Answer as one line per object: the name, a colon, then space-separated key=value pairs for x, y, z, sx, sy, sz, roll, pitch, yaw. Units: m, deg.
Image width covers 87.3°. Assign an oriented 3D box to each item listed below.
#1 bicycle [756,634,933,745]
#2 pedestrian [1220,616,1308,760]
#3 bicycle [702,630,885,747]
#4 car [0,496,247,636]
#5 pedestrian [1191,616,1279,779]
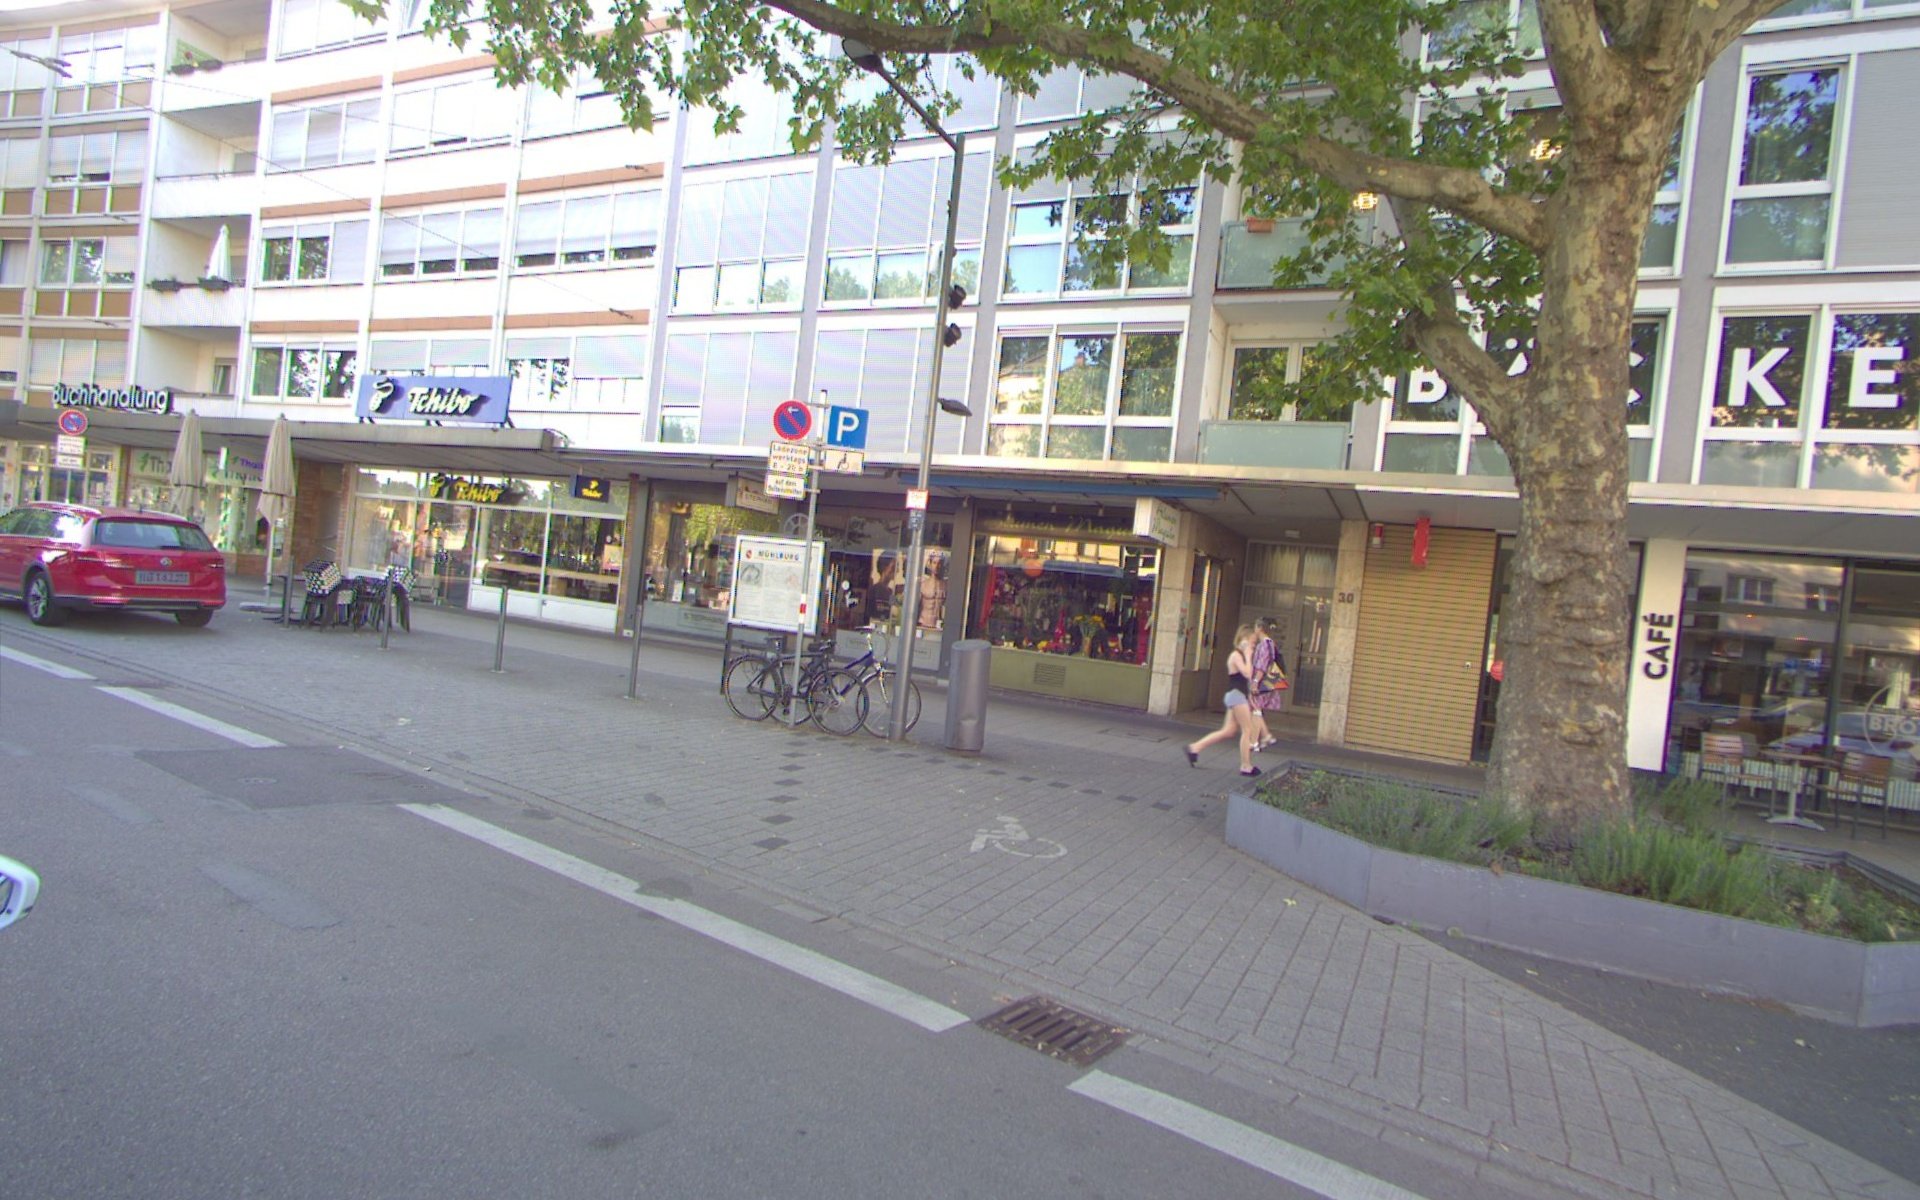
bicycle: x=-1.217 y=0.928 z=10.605 sx=1.743 sy=0.931 sz=0.391 roll=6 pitch=2 yaw=12
pedestrian: x=3.716 y=1.048 z=12.270 sx=0.776 sy=1.613 sz=0.651 roll=7 pitch=3 yaw=26
bicycle: x=-1.702 y=0.884 z=10.283 sx=1.743 sy=0.951 sz=0.391 roll=6 pitch=2 yaw=12
car: x=-11.732 y=-0.514 z=13.493 sx=4.229 sy=1.502 sz=1.772 roll=6 pitch=1 yaw=28
pedestrian: x=2.892 y=1.007 z=10.566 sx=0.631 sy=1.596 sz=0.560 roll=7 pitch=1 yaw=26
